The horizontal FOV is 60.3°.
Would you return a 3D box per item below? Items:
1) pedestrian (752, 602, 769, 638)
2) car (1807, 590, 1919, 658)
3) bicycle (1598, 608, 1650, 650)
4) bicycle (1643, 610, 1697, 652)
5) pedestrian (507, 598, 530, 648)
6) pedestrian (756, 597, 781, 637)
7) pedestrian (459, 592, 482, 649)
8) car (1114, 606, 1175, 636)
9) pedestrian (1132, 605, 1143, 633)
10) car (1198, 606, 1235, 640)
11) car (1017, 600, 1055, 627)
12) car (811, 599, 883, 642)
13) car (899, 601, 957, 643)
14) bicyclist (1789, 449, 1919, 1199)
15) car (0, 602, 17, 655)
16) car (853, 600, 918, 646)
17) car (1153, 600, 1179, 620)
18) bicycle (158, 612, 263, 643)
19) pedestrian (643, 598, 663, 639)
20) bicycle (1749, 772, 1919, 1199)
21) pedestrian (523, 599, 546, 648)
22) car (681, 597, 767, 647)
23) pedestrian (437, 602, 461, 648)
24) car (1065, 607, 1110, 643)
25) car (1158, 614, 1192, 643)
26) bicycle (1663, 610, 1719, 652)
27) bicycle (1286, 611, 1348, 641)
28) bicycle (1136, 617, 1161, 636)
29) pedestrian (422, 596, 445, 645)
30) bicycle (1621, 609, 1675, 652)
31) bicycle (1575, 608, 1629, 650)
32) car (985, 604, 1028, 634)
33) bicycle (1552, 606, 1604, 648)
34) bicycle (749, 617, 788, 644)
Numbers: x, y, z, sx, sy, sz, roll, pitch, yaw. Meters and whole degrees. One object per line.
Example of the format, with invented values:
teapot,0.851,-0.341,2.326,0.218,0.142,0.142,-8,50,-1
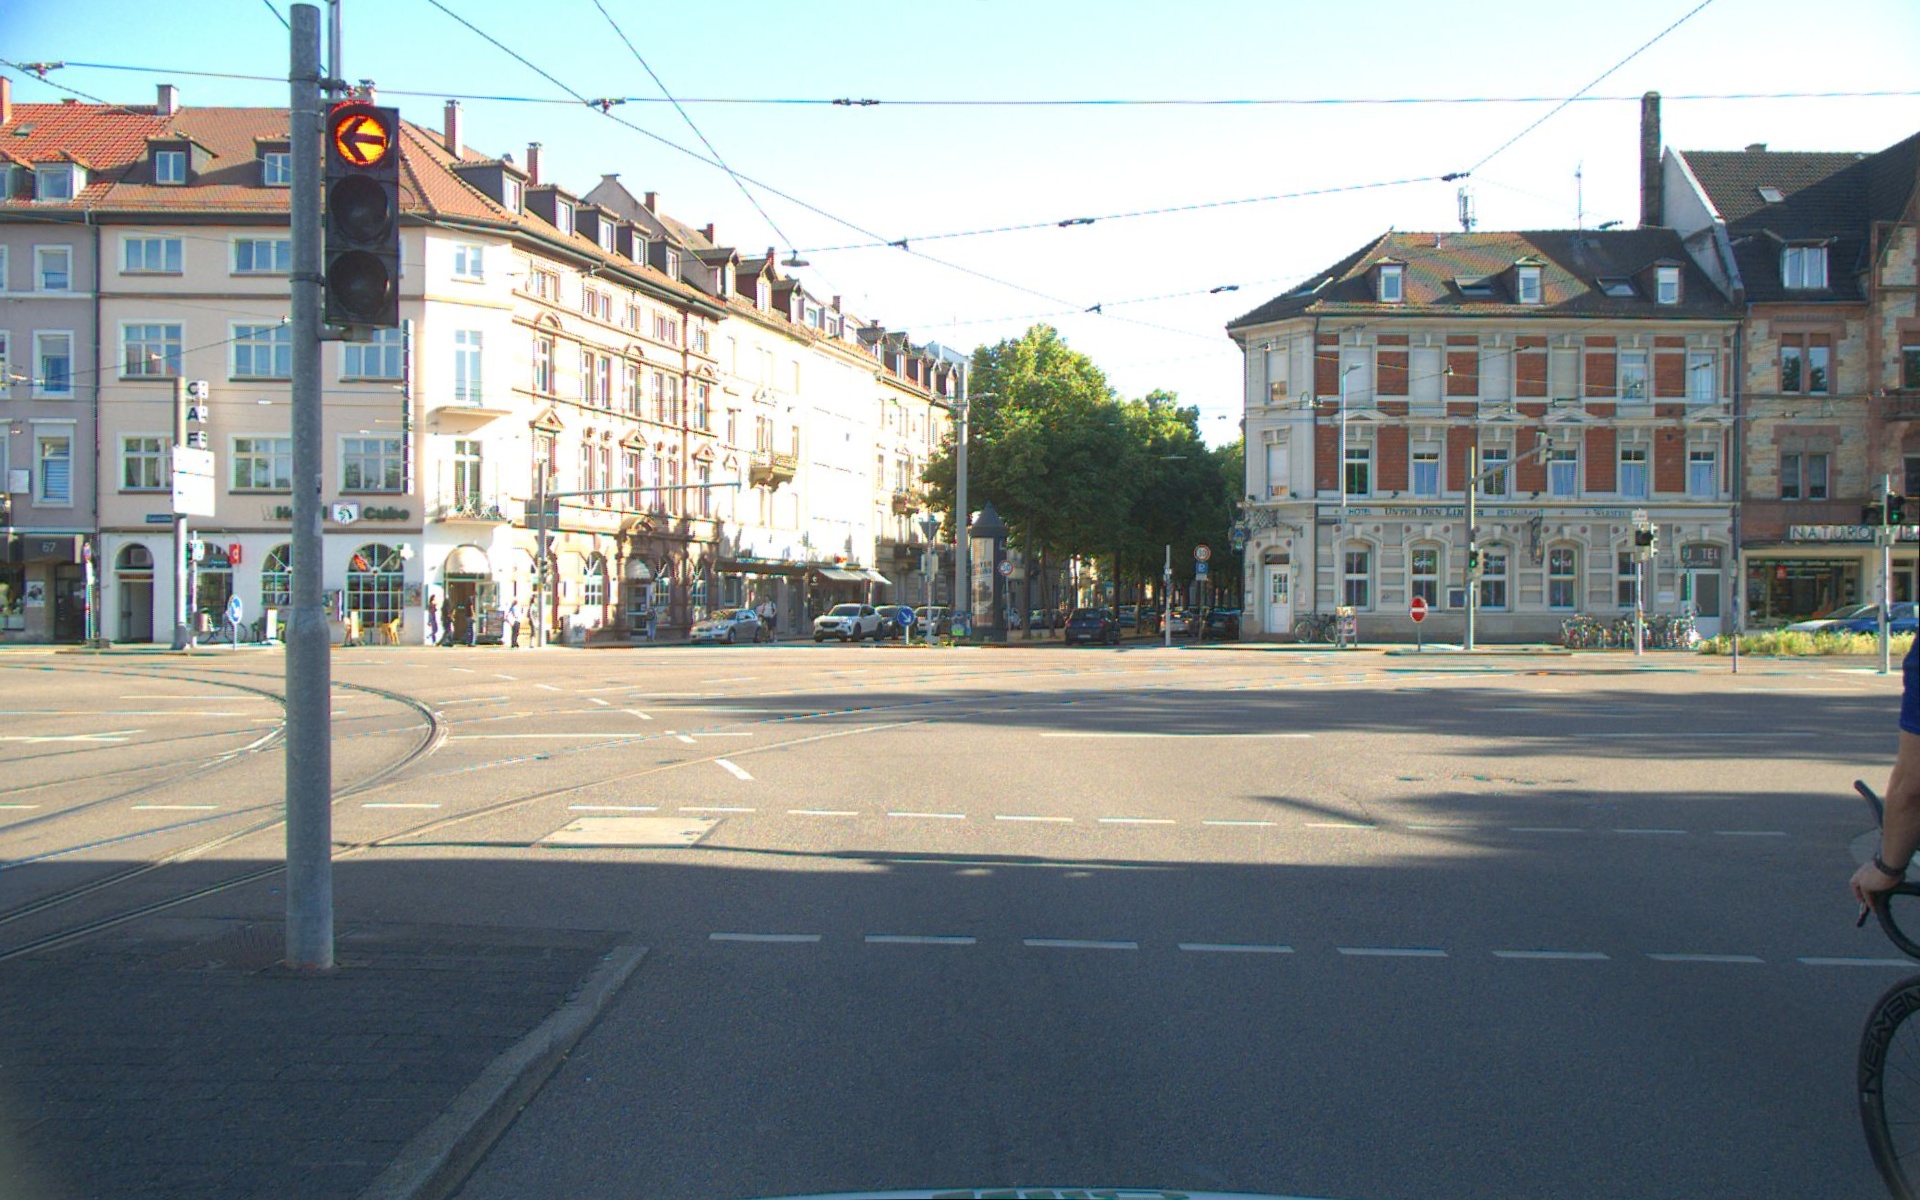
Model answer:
pedestrian,-9.336,0.915,77.421,0.532,1.660,0.707,1,-1,13
car,25.935,0.668,46.047,3.706,1.809,1.999,1,0,-2
bicycle,21.309,0.915,53.145,0.615,1.309,2.661,1,0,0
bicycle,22.801,0.971,53.171,0.615,1.309,2.661,1,0,0
pedestrian,-14.858,0.759,55.669,0.620,1.662,0.700,1,-1,-4
pedestrian,-7.538,0.662,65.084,0.803,1.539,0.598,1,-1,14
pedestrian,-16.555,0.686,55.968,0.620,1.914,0.465,1,-1,-5
car,12.856,1.457,115.148,3.902,1.937,2.001,1,0,15
pedestrian,11.637,1.246,108.599,0.626,1.827,0.491,1,-1,12
car,12.872,1.139,82.772,1.655,1.592,3.844,1,0,11
car,5.650,1.011,122.631,1.951,1.937,4.002,1,0,16
car,-4.559,0.824,67.328,1.951,1.646,4.003,1,0,11
car,-1.521,1.062,79.705,1.951,1.937,4.003,1,0,11
bicyclist,2.174,0.469,3.269,0.625,1.520,0.884,1,1,3
car,-32.384,0.907,52.428,3.902,1.699,2.002,0,0,8
car,-3.289,1.007,73.656,1.951,1.937,4.003,1,0,11
car,16.813,0.827,134.905,1.526,1.540,3.658,1,0,16
bicycle,-25.514,0.936,56.349,3.066,0.997,1.001,1,0,-1
pedestrian,-12.476,0.762,67.246,0.532,1.660,0.707,1,-1,13
bicycle,2.215,0.976,3.193,0.613,1.104,1.703,1,0,2
pedestrian,-14.670,0.797,56.976,0.620,1.662,0.700,1,-1,-4
car,-9.511,0.872,66.967,1.951,1.937,4.002,1,0,17
pedestrian,-16.947,0.816,54.857,0.620,1.502,0.465,1,-1,-5
car,5.109,0.995,66.514,1.717,1.386,3.857,1,0,4
car,11.879,1.548,91.673,1.734,1.557,4.002,1,0,5
bicycle,23.485,0.988,53.170,0.615,1.309,2.661,1,0,0
bicycle,12.353,0.890,57.268,2.006,1.015,0.631,1,0,2
bicycle,11.286,1.565,99.220,0.619,1.104,1.685,1,0,-31
pedestrian,-17.747,0.690,55.736,0.620,1.640,0.465,1,-1,-5
bicycle,22.086,0.964,53.147,0.615,1.309,2.661,1,0,0
bicycle,20.598,0.907,53.123,0.678,1.309,2.661,1,0,0
car,3.185,1.280,112.733,1.951,1.937,4.002,1,0,16
bicycle,19.831,0.857,53.165,0.678,1.309,2.661,1,0,0
bicycle,-7.527,1.201,65.156,0.746,1.025,2.398,1,0,13
